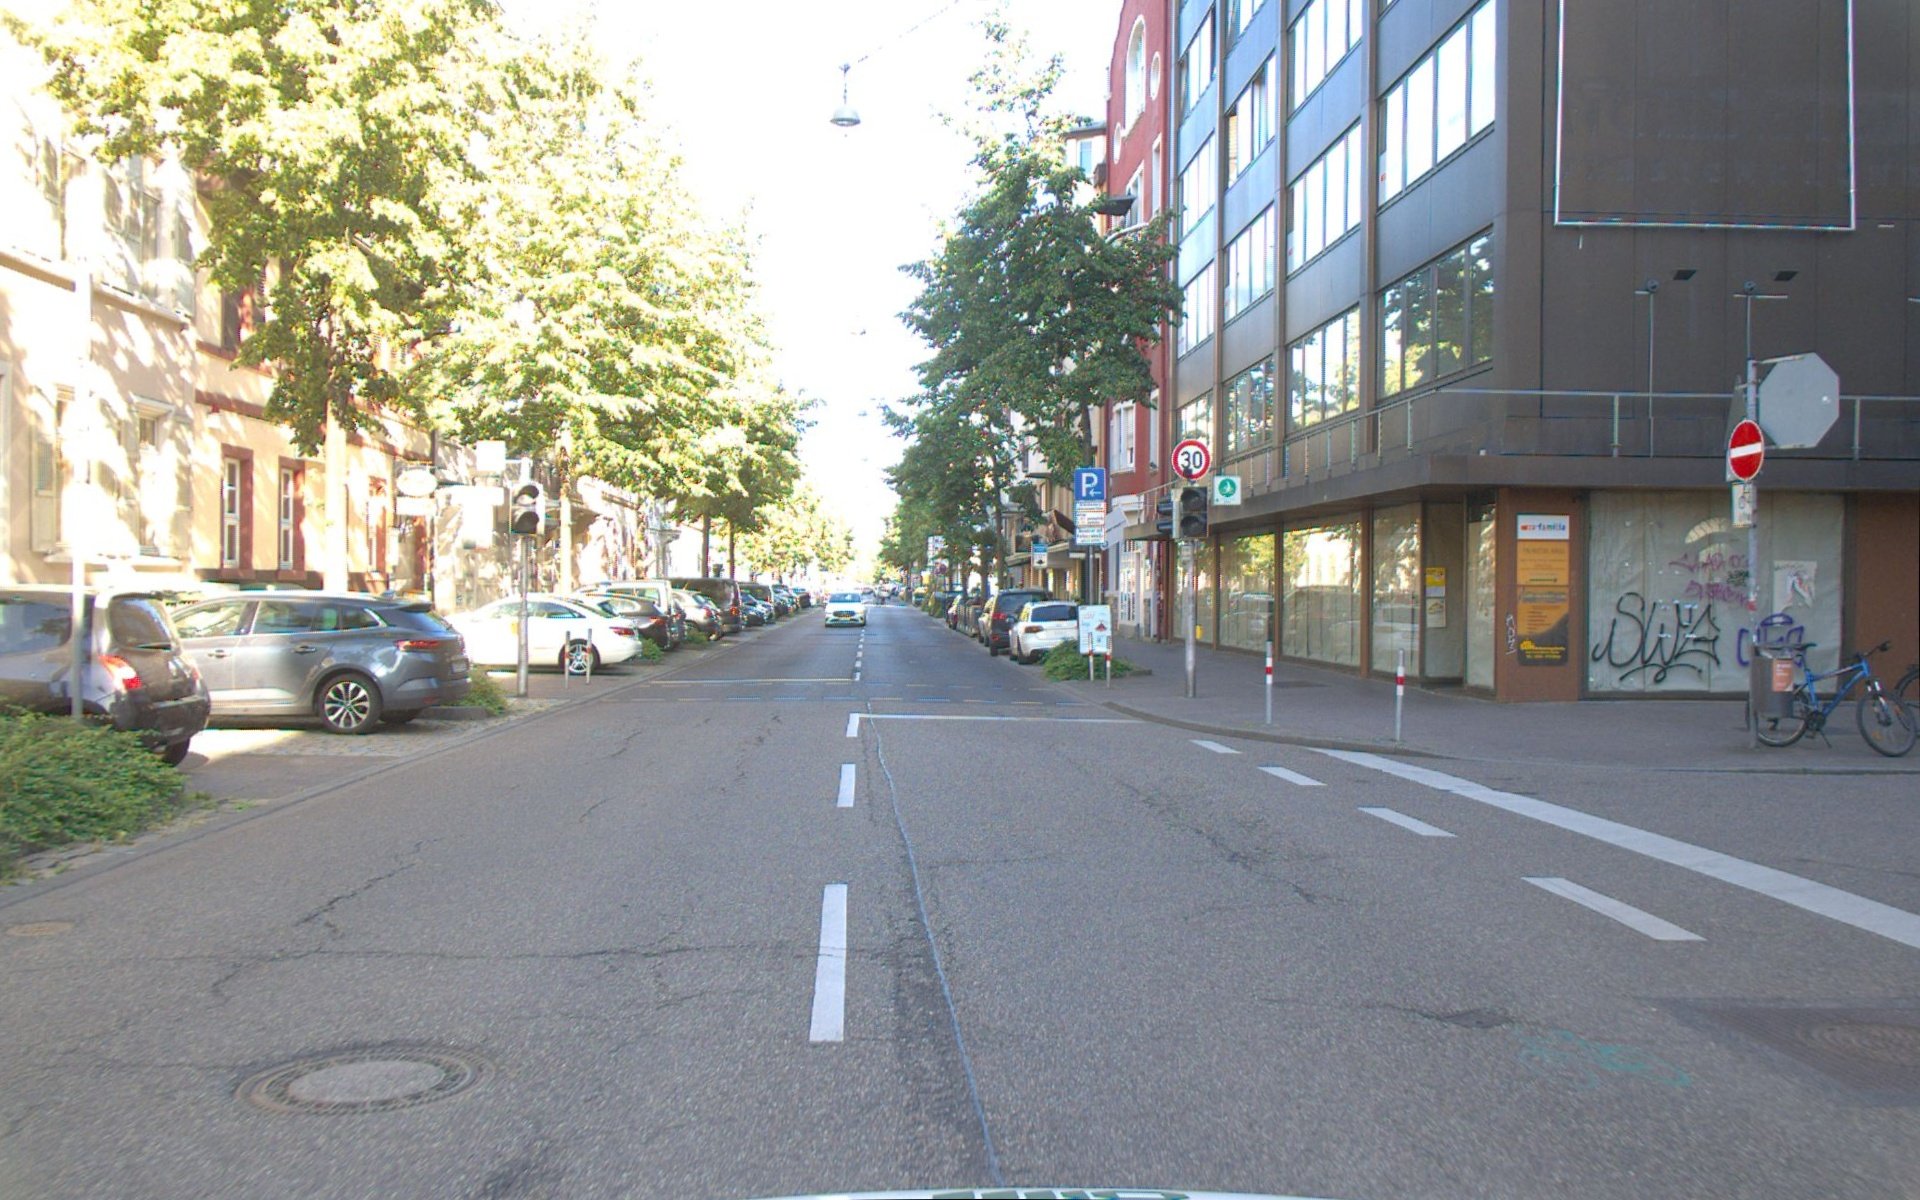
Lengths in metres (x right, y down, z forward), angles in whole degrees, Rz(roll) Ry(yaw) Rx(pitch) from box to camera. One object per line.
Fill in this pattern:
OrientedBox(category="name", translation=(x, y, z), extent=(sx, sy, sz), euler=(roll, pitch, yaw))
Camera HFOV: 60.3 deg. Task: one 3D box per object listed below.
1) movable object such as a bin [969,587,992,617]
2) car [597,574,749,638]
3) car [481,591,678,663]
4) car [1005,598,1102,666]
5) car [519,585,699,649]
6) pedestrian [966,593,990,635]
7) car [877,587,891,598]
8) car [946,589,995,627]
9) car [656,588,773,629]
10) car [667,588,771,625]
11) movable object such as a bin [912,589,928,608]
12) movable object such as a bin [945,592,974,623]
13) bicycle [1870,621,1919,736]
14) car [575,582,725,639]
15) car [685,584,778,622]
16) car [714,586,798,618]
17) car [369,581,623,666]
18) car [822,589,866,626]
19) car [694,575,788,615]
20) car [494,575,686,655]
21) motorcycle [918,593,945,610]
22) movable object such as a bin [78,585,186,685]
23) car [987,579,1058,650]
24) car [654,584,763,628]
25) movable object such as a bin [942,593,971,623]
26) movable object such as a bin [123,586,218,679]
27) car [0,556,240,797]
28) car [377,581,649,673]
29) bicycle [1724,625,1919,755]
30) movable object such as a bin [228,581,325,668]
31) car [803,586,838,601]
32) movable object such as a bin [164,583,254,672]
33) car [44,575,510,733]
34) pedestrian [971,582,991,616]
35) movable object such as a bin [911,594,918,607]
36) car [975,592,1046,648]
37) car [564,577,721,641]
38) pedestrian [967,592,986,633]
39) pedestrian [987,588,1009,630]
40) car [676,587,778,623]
OrientedBox(category="movable object such as a bin", translation=(1.019, 0.095, 82.571), extent=(1.056, 1.456, 1.294), euler=(0, 0, -3))
OrientedBox(category="car", translation=(-9.120, 0.185, 52.773), extent=(4.480, 1.960, 1.930), euler=(1, 0, -1))
OrientedBox(category="car", translation=(-8.689, 0.604, 37.810), extent=(4.267, 1.571, 1.957), euler=(1, 0, -15))
OrientedBox(category="car", translation=(2.163, 0.712, 39.482), extent=(1.786, 1.427, 4.839), euler=(-2, 0, -2))
OrientedBox(category="car", translation=(-9.123, 0.443, 43.238), extent=(4.250, 1.571, 1.917), euler=(1, 0, 1))
OrientedBox(category="pedestrian", translation=(0.678, 0.511, 61.588), extent=(0.733, 1.563, 0.808), euler=(0, 0, 11))
OrientedBox(category="car", translation=(-10.153, -0.963, 220.588), extent=(1.757, 1.436, 3.998), euler=(0, 1, -3))
OrientedBox(category="car", translation=(0.423, 0.314, 71.634), extent=(1.786, 1.497, 4.909), euler=(-2, 0, -3))
OrientedBox(category="car", translation=(-9.782, 0.342, 66.188), extent=(4.375, 1.568, 1.916), euler=(1, 0, -1))
OrientedBox(category="car", translation=(-10.612, 0.276, 73.099), extent=(4.378, 1.568, 1.915), euler=(1, 0, -4))
OrientedBox(category="movable object such as a bin", translation=(-3.396, -0.159, 140.578), extent=(1.118, 1.589, 1.460), euler=(0, 0, 5))
OrientedBox(category="movable object such as a bin", translation=(-0.025, 0.377, 80.167), extent=(1.371, 1.479, 1.145), euler=(0, 0, -3))
OrientedBox(category="bicycle", translation=(10.684, 0.881, 17.288), extent=(0.566, 1.181, 1.997), euler=(0, 3, -31))
OrientedBox(category="car", translation=(-9.360, 0.316, 50.177), extent=(4.255, 1.623, 1.914), euler=(1, 0, -5))
OrientedBox(category="car", translation=(-11.389, 0.140, 82.502), extent=(4.376, 1.803, 1.916), euler=(1, 0, -2))
OrientedBox(category="car", translation=(-11.590, 0.088, 94.146), extent=(4.586, 1.742, 1.807), euler=(1, 0, -2))
OrientedBox(category="car", translation=(-9.213, 0.459, 33.212), extent=(4.611, 1.518, 1.997), euler=(2, 1, -8))
OrientedBox(category="car", translation=(-5.160, 0.335, 73.859), extent=(1.872, 1.571, 4.351), euler=(1, 0, -3))
OrientedBox(category="car", translation=(-11.293, -0.253, 85.392), extent=(4.586, 1.984, 1.916), euler=(1, 0, -2))
OrientedBox(category="car", translation=(-9.003, 0.353, 40.519), extent=(4.251, 1.856, 1.929), euler=(1, 0, -1))
OrientedBox(category="motorcycle", translation=(-2.254, 0.112, 130.297), extent=(1.945, 1.353, 0.908), euler=(0, 0, -16))
OrientedBox(category="movable object such as a bin", translation=(-11.938, 0.494, 23.882), extent=(0.890, 1.391, 1.261), euler=(1, 0, 0))
OrientedBox(category="car", translation=(1.683, 0.364, 45.890), extent=(1.785, 1.808, 4.931), euler=(-2, 0, 1))
OrientedBox(category="car", translation=(-10.409, 0.239, 68.732), extent=(4.253, 1.739, 1.915), euler=(1, 0, -3))
OrientedBox(category="movable object such as a bin", translation=(-0.154, 0.381, 81.334), extent=(1.371, 1.479, 1.145), euler=(0, 0, -3))
OrientedBox(category="movable object such as a bin", translation=(-11.992, 0.482, 25.162), extent=(0.812, 1.379, 1.248), euler=(1, 0, 0))
OrientedBox(category="car", translation=(-7.810, 0.506, 12.449), extent=(3.906, 1.668, 1.944), euler=(1, 0, -1))
OrientedBox(category="car", translation=(-8.218, 0.507, 30.793), extent=(4.611, 1.518, 1.996), euler=(2, -1, -8))
OrientedBox(category="bicycle", translation=(8.692, 0.874, 16.670), extent=(0.568, 1.182, 1.718), euler=(0, 1, -42))
OrientedBox(category="movable object such as a bin", translation=(-12.051, 0.422, 29.210), extent=(1.110, 1.470, 1.381), euler=(1, 0, 0))
OrientedBox(category="car", translation=(-16.071, -0.736, 190.823), extent=(3.904, 1.724, 2.001), euler=(0, 1, 1))
OrientedBox(category="movable object such as a bin", translation=(-12.011, 0.426, 26.488), extent=(0.800, 1.386, 1.345), euler=(1, 0, 0))
OrientedBox(category="car", translation=(-7.317, 0.557, 18.067), extent=(4.251, 1.571, 1.944), euler=(1, 0, -1))
OrientedBox(category="pedestrian", translation=(1.214, -0.077, 95.838), extent=(0.906, 1.969, 0.761), euler=(0, 0, 22))
OrientedBox(category="movable object such as a bin", translation=(-4.309, 0.059, 157.661), extent=(0.609, 1.200, 0.711), euler=(0, 0, -5))
OrientedBox(category="car", translation=(1.548, 0.594, 52.254), extent=(1.786, 1.624, 4.839), euler=(-2, 0, -3))
OrientedBox(category="car", translation=(-9.113, 0.255, 47.766), extent=(4.255, 1.764, 1.914), euler=(1, 0, -5))
OrientedBox(category="pedestrian", translation=(0.615, 0.474, 62.885), extent=(0.637, 1.563, 0.979), euler=(0, 0, -5))
OrientedBox(category="pedestrian", translation=(1.446, 0.345, 62.906), extent=(0.696, 1.563, 0.770), euler=(0, 0, 11))
OrientedBox(category="car", translation=(-10.663, 0.227, 75.855), extent=(4.374, 1.568, 1.916), euler=(1, 0, 0))
